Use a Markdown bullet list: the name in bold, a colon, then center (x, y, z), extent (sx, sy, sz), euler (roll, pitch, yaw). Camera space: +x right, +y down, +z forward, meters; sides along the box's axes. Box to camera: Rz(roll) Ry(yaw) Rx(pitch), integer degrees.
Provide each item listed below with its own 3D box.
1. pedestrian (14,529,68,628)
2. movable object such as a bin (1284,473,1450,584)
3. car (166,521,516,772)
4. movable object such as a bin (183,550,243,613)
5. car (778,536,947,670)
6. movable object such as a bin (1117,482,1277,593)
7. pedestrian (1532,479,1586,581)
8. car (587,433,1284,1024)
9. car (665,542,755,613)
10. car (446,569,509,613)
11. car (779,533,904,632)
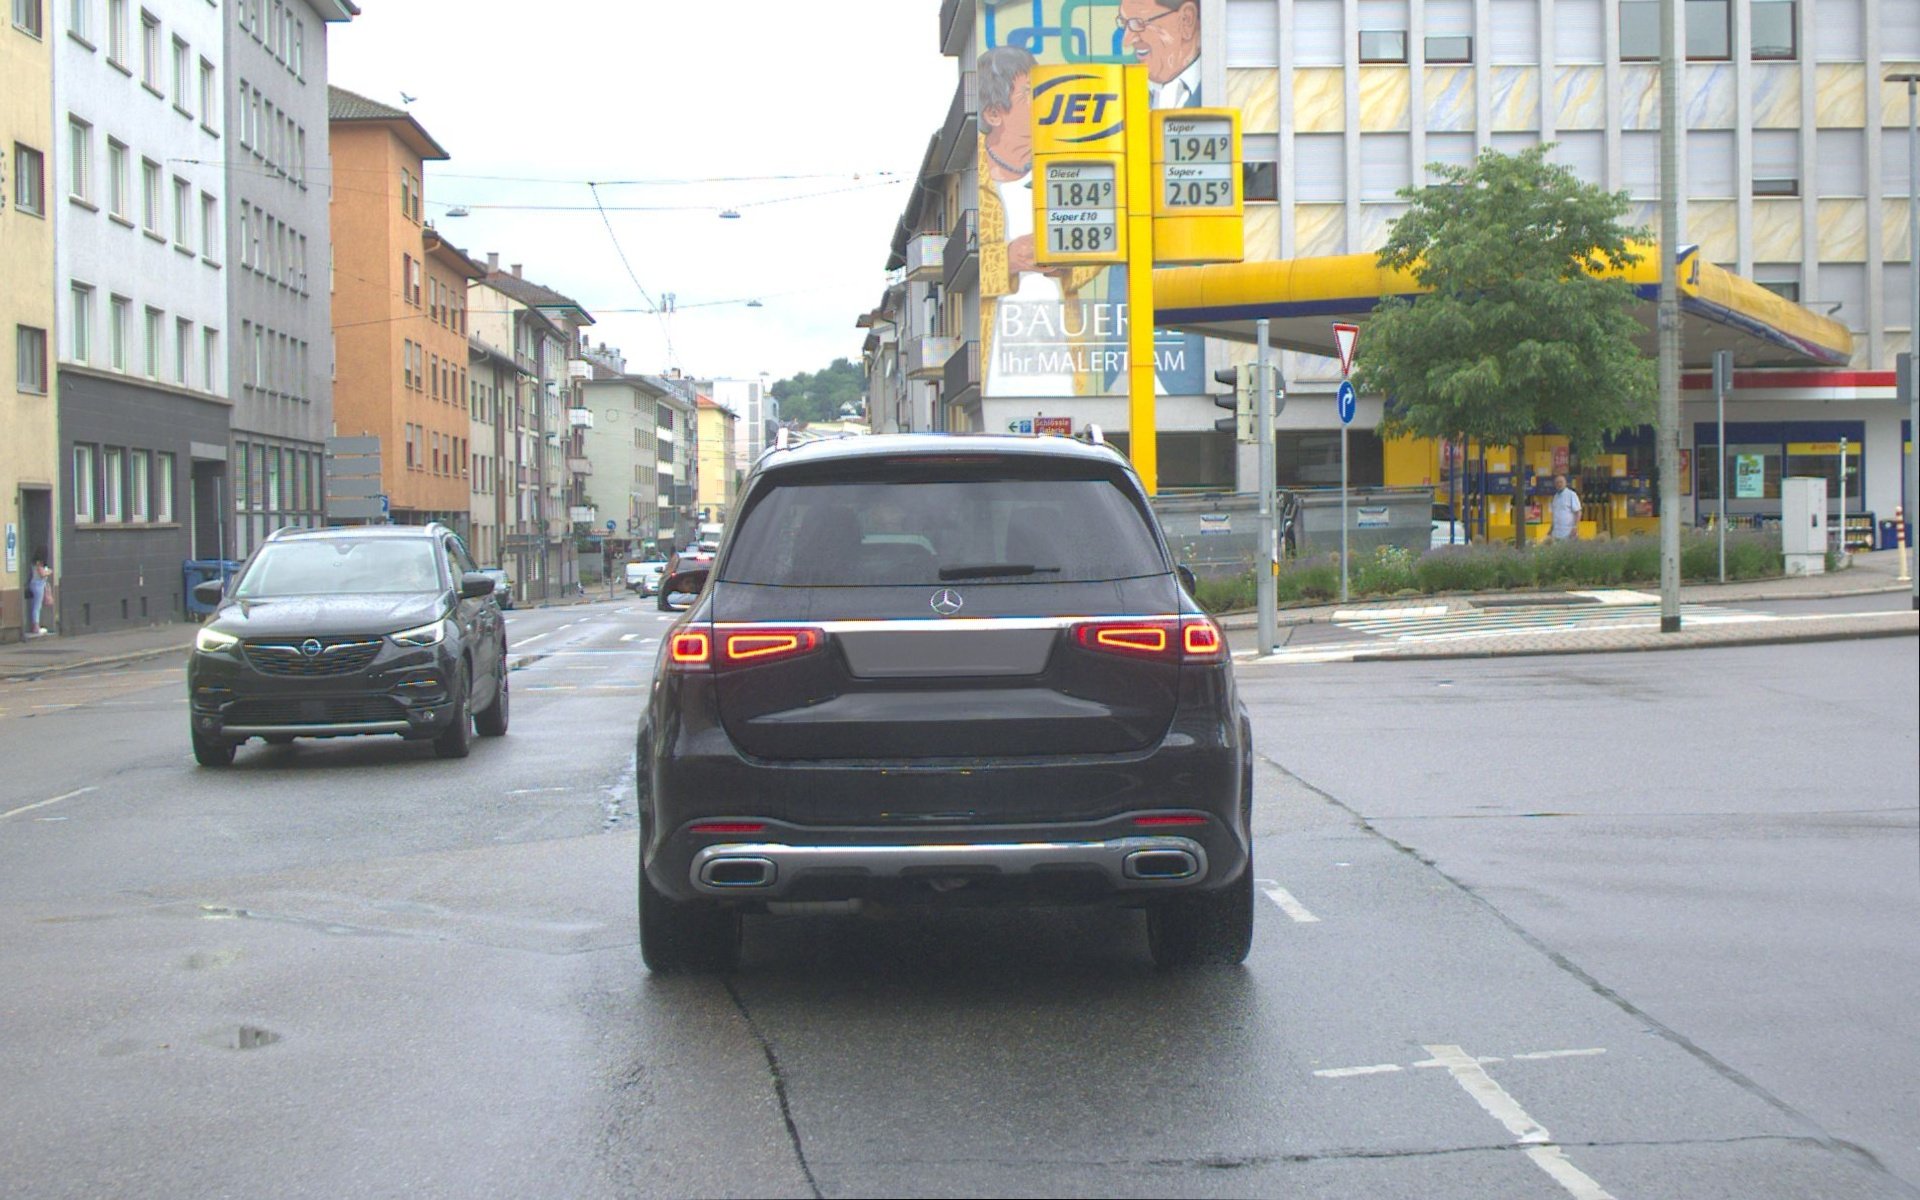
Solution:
- **pedestrian**: center (-15.880, -0.369, 59.418), extent (0.717, 1.684, 0.811), euler (1, 1, -1)
- **movable object such as a bin**: center (6.054, -1.063, 51.269), extent (2.155, 1.550, 1.773), euler (-2, 1, -2)
- **car**: center (-4.271, 0.262, 24.330), extent (1.808, 1.589, 4.295), euler (-1, 1, -2)
- **movable object such as a bin**: center (-16.036, -0.395, 73.828), extent (1.076, 1.320, 1.191), euler (1, 1, -3)
- **car**: center (-1.322, 0.000, 44.897), extent (2.076, 1.644, 4.296), euler (1, 1, -3)
- **movable object such as a bin**: center (3.512, -0.922, 51.214), extent (2.155, 1.569, 1.773), euler (-1, 1, -2)
- **pedestrian**: center (9.348, -1.090, 53.641), extent (0.664, 1.579, 0.847), euler (1, 1, 0)
- **car**: center (-0.191, 0.351, 12.654), extent (2.076, 1.759, 4.612), euler (1, 1, -3)
- **car**: center (-6.038, -0.575, 83.552), extent (2.076, 1.644, 4.296), euler (1, 1, -3)
- **car**: center (-16.852, -0.331, 120.271), extent (1.891, 1.453, 4.550), euler (1, 1, -5)
- **car**: center (-2.109, -0.333, 60.089), extent (2.076, 1.644, 4.296), euler (1, 1, -3)
